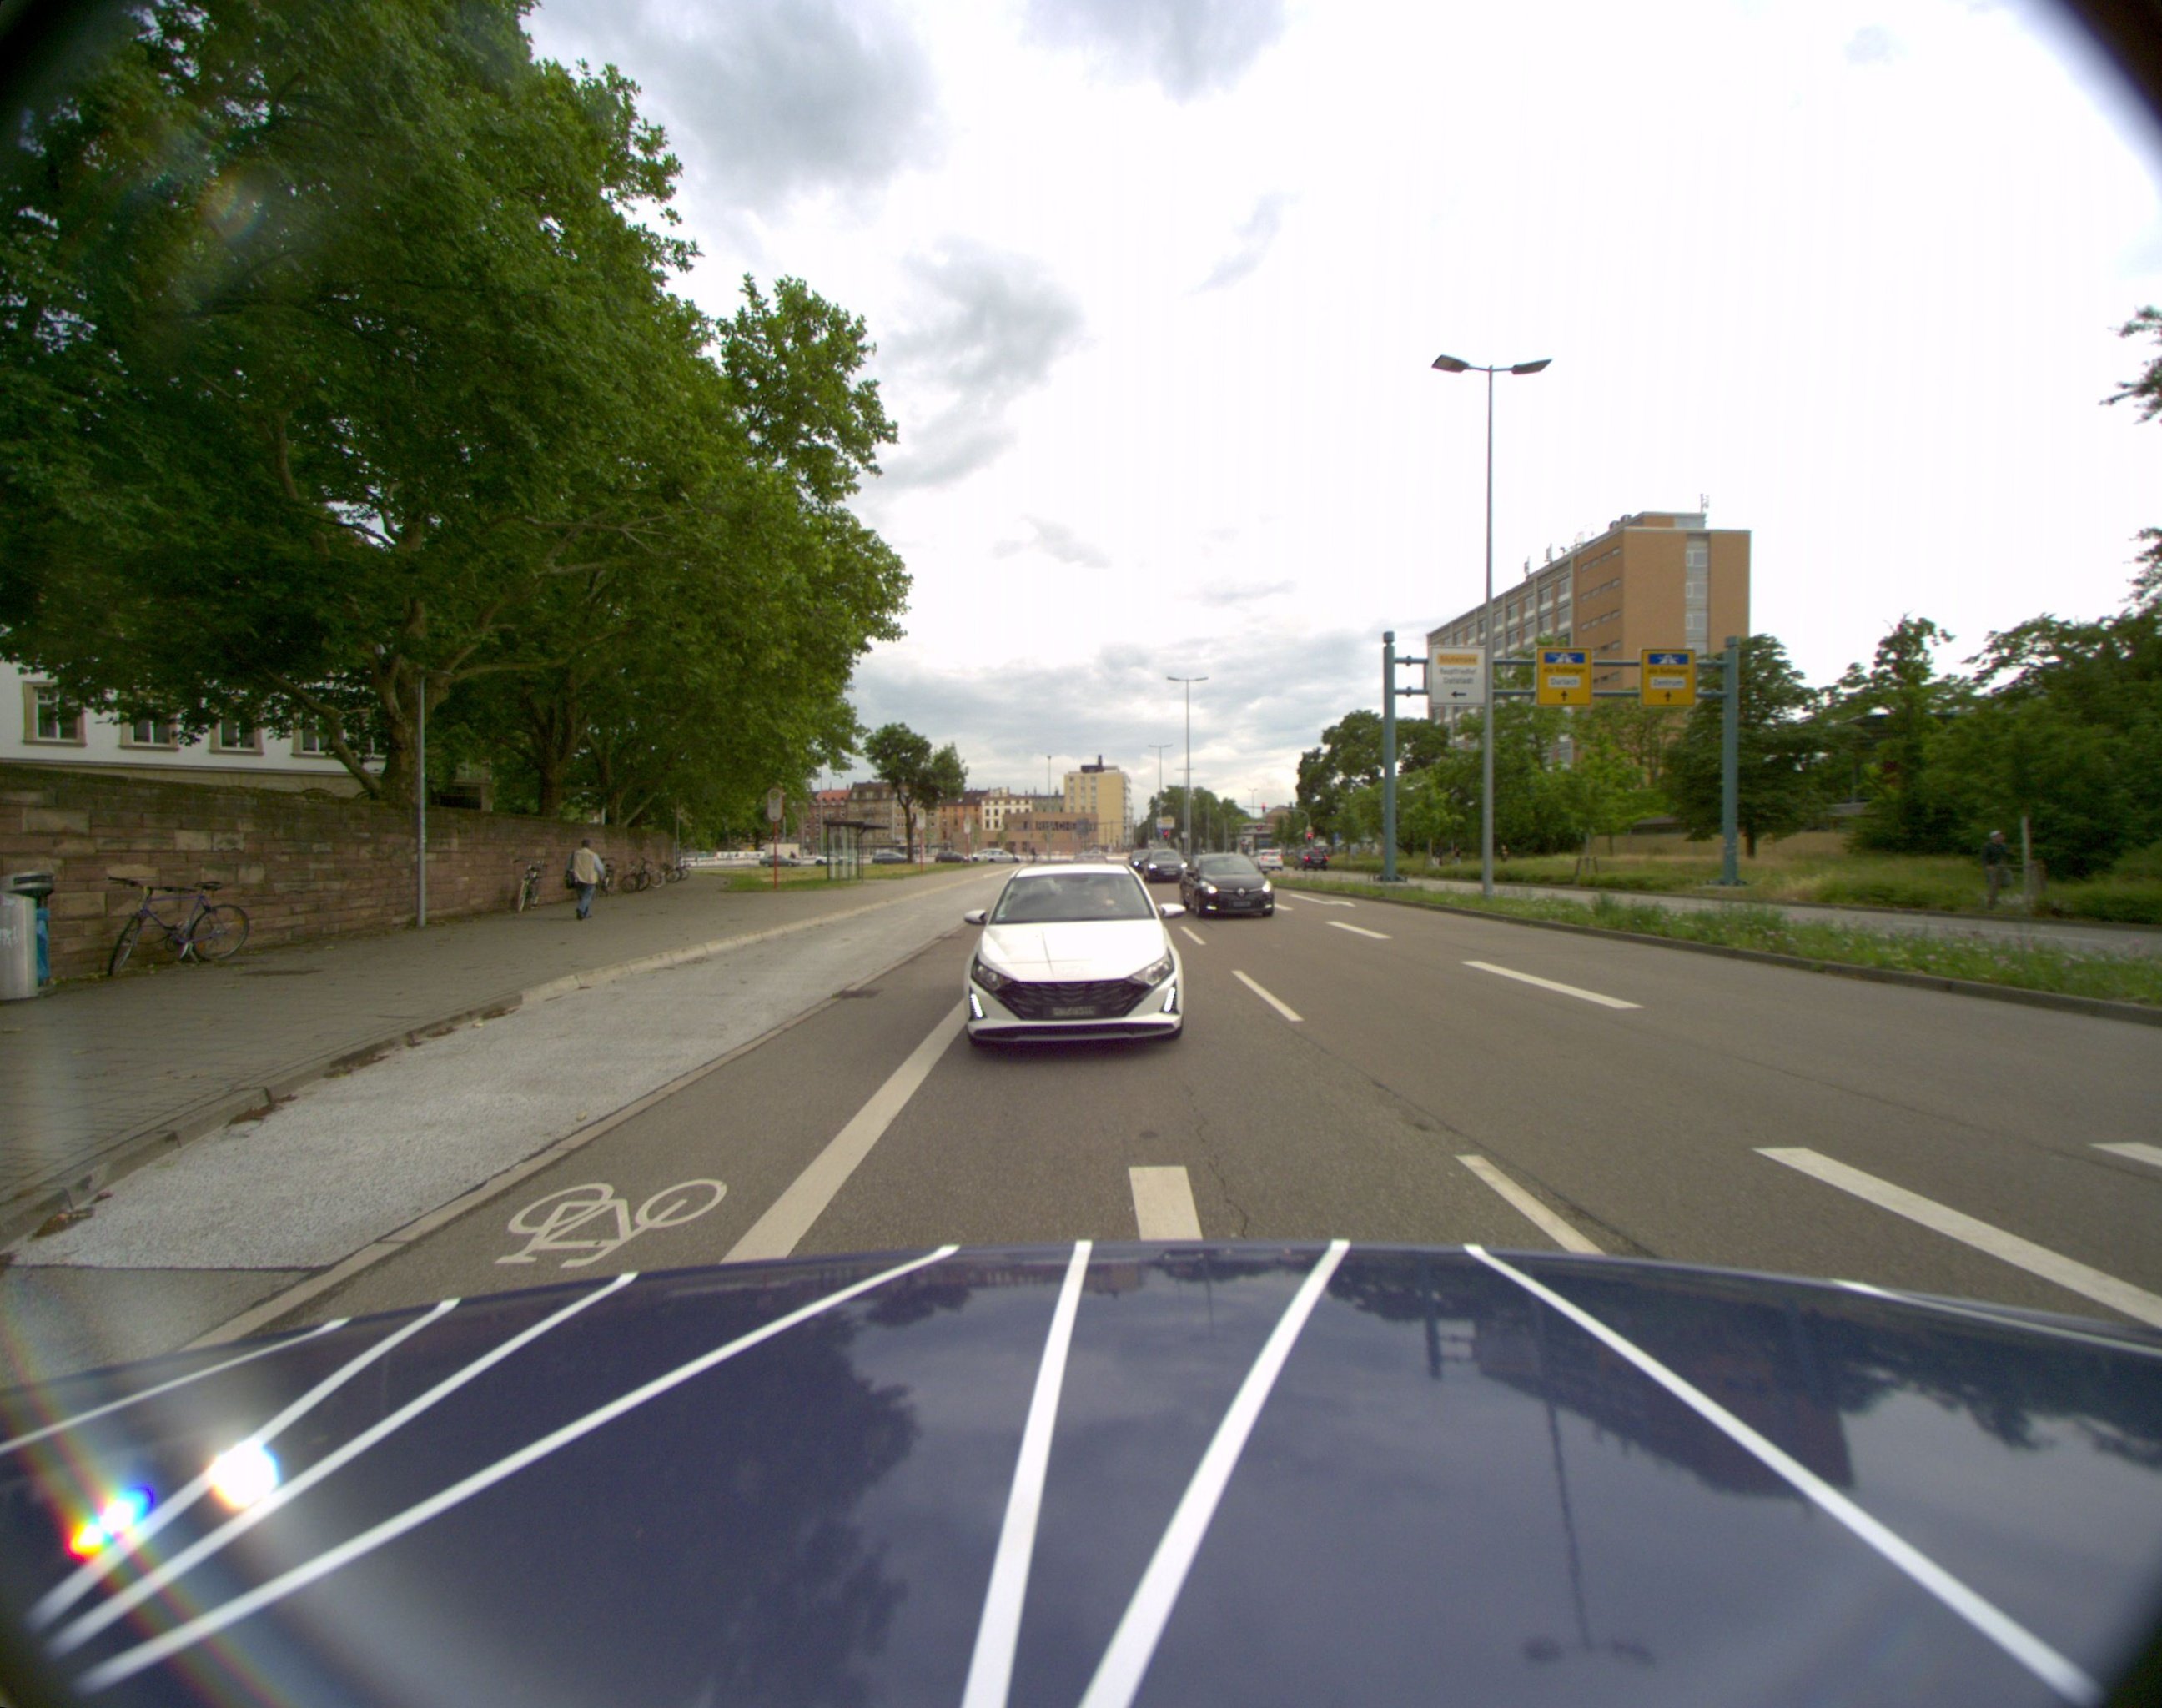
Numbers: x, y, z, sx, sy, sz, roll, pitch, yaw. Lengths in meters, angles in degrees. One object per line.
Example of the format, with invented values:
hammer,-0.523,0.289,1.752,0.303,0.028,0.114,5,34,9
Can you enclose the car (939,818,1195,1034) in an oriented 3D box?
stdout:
car,-0.070,0.494,7.396,1.813,1.533,4.000,0,1,1

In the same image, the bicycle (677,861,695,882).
bicycle,-20.602,0.896,39.652,0.693,1.078,1.650,-1,0,-22

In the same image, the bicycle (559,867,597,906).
bicycle,-13.612,0.855,20.598,0.482,0.934,1.895,-1,1,-22

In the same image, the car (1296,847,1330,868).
car,17.929,0.223,58.823,1.854,1.543,4.002,-1,1,7

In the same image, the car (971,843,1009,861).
car,-11.265,-0.263,93.758,4.288,2.002,1.997,-2,1,-16

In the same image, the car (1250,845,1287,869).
car,14.815,0.207,60.180,1.893,1.763,3.999,-2,1,0

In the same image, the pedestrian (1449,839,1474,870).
pedestrian,25.156,0.017,50.269,0.882,2.002,1.220,-2,1,-7

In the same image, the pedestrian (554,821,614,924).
pedestrian,-9.987,0.376,15.306,0.784,2.001,0.888,0,0,-17

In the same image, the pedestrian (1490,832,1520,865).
pedestrian,25.293,-0.324,45.316,1.137,1.908,1.162,-2,1,4

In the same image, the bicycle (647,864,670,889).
bicycle,-17.049,0.883,30.689,0.569,0.934,1.764,-1,1,-22

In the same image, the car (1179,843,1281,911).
car,3.460,0.475,18.375,1.732,1.450,4.000,0,1,1

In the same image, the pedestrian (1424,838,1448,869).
pedestrian,23.845,-0.050,51.026,0.882,2.002,1.220,-2,1,-7

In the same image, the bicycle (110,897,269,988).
bicycle,-10.556,1.014,9.067,0.291,0.880,1.609,0,1,-12

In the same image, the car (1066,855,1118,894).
car,0.444,0.763,30.759,1.998,1.422,4.000,0,1,1

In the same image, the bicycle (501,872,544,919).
bicycle,-12.418,0.896,16.928,0.365,0.934,1.638,-1,1,-21

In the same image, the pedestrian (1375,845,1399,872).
pedestrian,23.497,0.337,58.352,1.223,2.002,1.520,-2,1,0

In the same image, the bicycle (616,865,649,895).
bicycle,-15.186,0.852,25.777,0.655,0.934,1.953,-1,1,-22

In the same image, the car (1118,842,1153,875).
car,3.426,0.271,48.357,1.998,2.002,4.000,0,1,1

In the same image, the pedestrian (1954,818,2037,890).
pedestrian,21.519,0.004,17.892,0.990,1.616,0.813,-2,1,-2

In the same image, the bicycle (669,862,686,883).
bicycle,-18.983,0.857,35.785,0.561,0.934,1.351,-1,1,-22

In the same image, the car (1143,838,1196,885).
car,3.943,0.310,34.617,1.998,2.002,4.000,0,1,1
